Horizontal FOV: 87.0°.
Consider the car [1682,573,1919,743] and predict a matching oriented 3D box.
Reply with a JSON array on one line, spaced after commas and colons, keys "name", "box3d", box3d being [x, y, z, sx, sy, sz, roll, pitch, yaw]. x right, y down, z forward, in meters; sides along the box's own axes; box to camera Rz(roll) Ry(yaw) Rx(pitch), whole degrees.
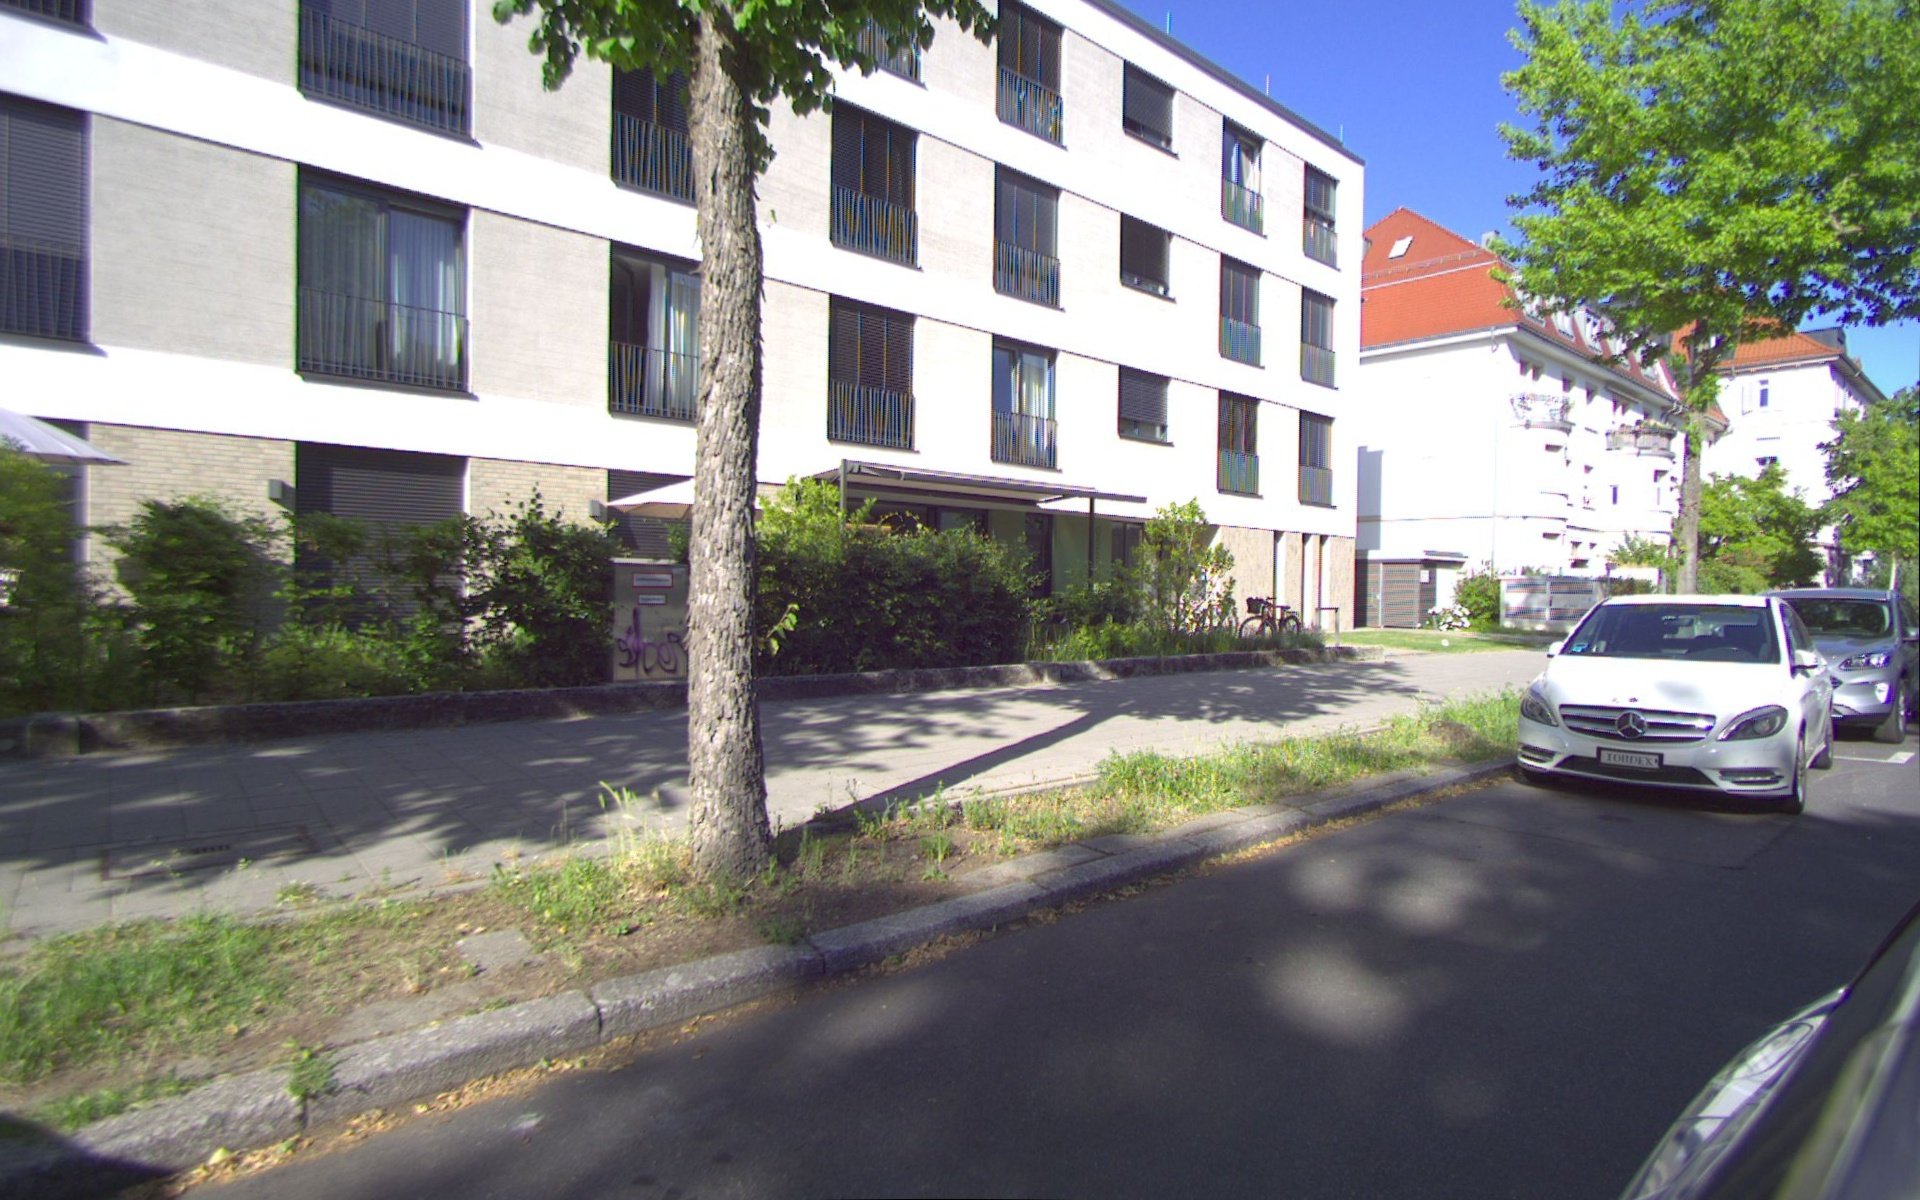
[{"name": "car", "box3d": [10.603, 0.553, 12.213, 4.774, 1.668, 1.901, 0, 1, -39]}]

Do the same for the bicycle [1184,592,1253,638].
[{"name": "bicycle", "box3d": [5.320, 0.297, 20.794, 1.581, 0.905, 0.564, 0, 1, -41]}]

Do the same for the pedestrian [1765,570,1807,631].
[{"name": "pedestrian", "box3d": [28.221, 0.003, 34.564, 0.988, 2.038, 0.907, 0, 2, -41]}]

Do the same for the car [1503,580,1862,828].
[{"name": "car", "box3d": [6.288, 0.628, 8.555, 1.782, 1.537, 4.612, 1, 1, 45]}]

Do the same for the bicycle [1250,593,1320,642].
[{"name": "bicycle", "box3d": [6.319, 0.315, 19.644, 1.581, 0.905, 0.564, 0, 1, -41]}]
